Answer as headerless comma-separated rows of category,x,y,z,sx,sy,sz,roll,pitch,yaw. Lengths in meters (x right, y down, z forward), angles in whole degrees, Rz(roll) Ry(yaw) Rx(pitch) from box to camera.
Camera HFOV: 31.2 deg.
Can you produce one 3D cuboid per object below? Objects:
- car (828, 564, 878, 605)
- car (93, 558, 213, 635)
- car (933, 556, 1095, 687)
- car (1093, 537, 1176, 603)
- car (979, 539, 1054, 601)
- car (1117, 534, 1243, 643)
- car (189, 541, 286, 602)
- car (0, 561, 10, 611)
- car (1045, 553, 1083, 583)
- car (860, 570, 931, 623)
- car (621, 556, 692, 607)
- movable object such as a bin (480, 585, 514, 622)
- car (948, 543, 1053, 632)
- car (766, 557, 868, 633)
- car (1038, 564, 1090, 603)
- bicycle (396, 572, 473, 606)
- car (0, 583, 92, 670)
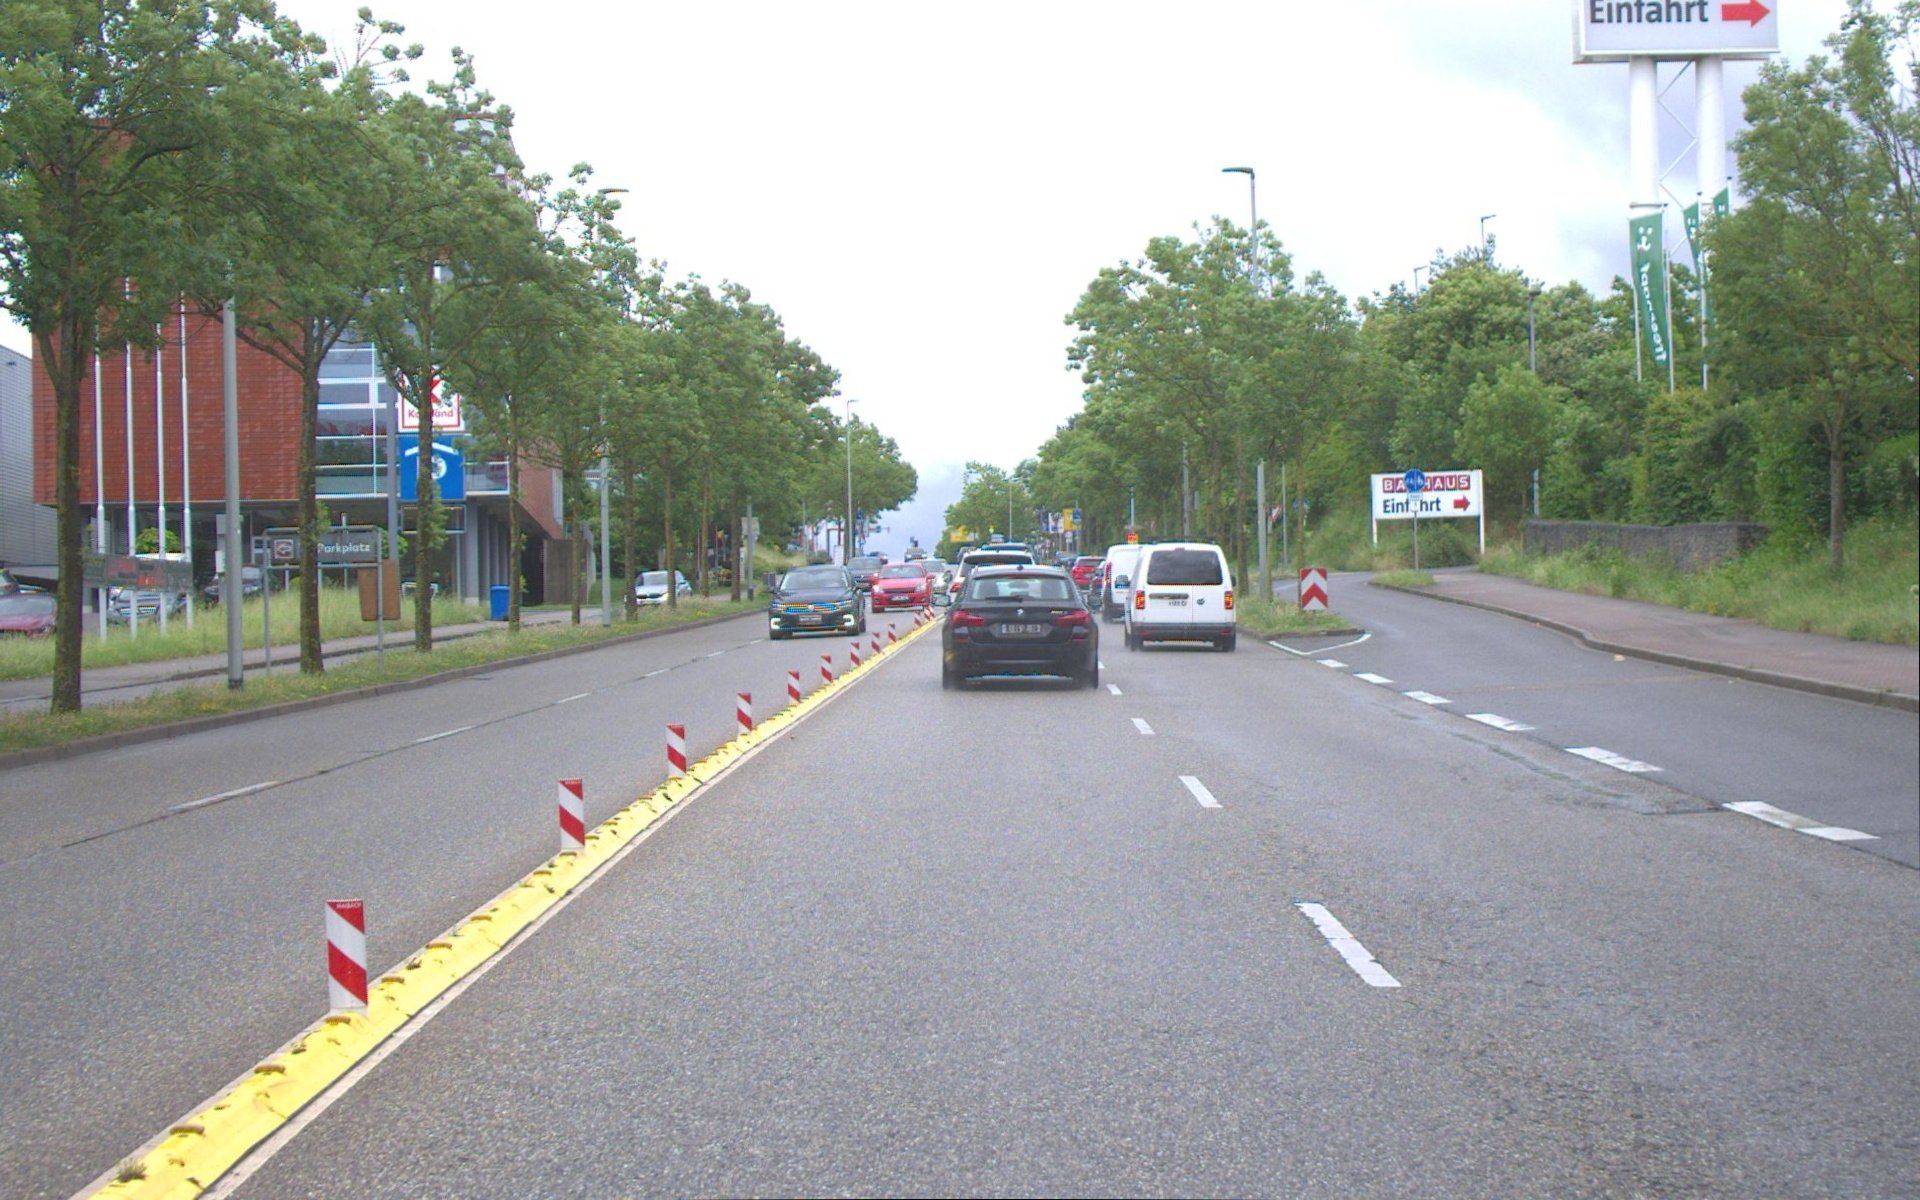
car,-4.512,-0.672,145.571,1.787,1.608,4.436,-3,0,2
car,-20.234,-0.124,86.389,2.039,1.756,4.946,0,2,-2
car,0.674,0.224,41.484,1.827,1.463,4.000,-1,1,2
car,4.094,-0.692,81.183,1.794,1.505,4.000,1,0,1
car,1.393,-0.746,86.457,1.794,1.505,4.000,1,0,0
car,3.683,-0.220,58.051,1.827,1.753,4.000,1,1,0
car,-22.509,-0.919,107.201,2.138,1.767,4.609,0,2,-1
car,-31.649,-0.431,106.345,4.108,1.505,1.820,0,2,-7
car,5.324,-1.643,176.397,1.794,1.505,4.000,1,0,0
car,-1.862,-0.116,100.610,1.762,1.420,4.180,-2,1,3
car,-10.268,-0.644,116.476,1.867,1.547,4.575,-3,1,1
movable object such as a bin,-14.310,0.092,106.336,0.819,1.075,1.086,4,1,1
car,0.740,-0.219,61.458,1.794,1.505,4.000,1,0,1
car,-2.944,-0.129,71.545,1.827,1.461,4.616,-1,1,1
car,4.114,-0.648,136.313,1.794,1.505,4.000,1,0,-2
bicycle,-16.072,-0.336,105.210,2.077,0.932,1.093,3,0,5
car,-19.541,0.523,71.831,1.932,1.603,4.712,0,2,-4
